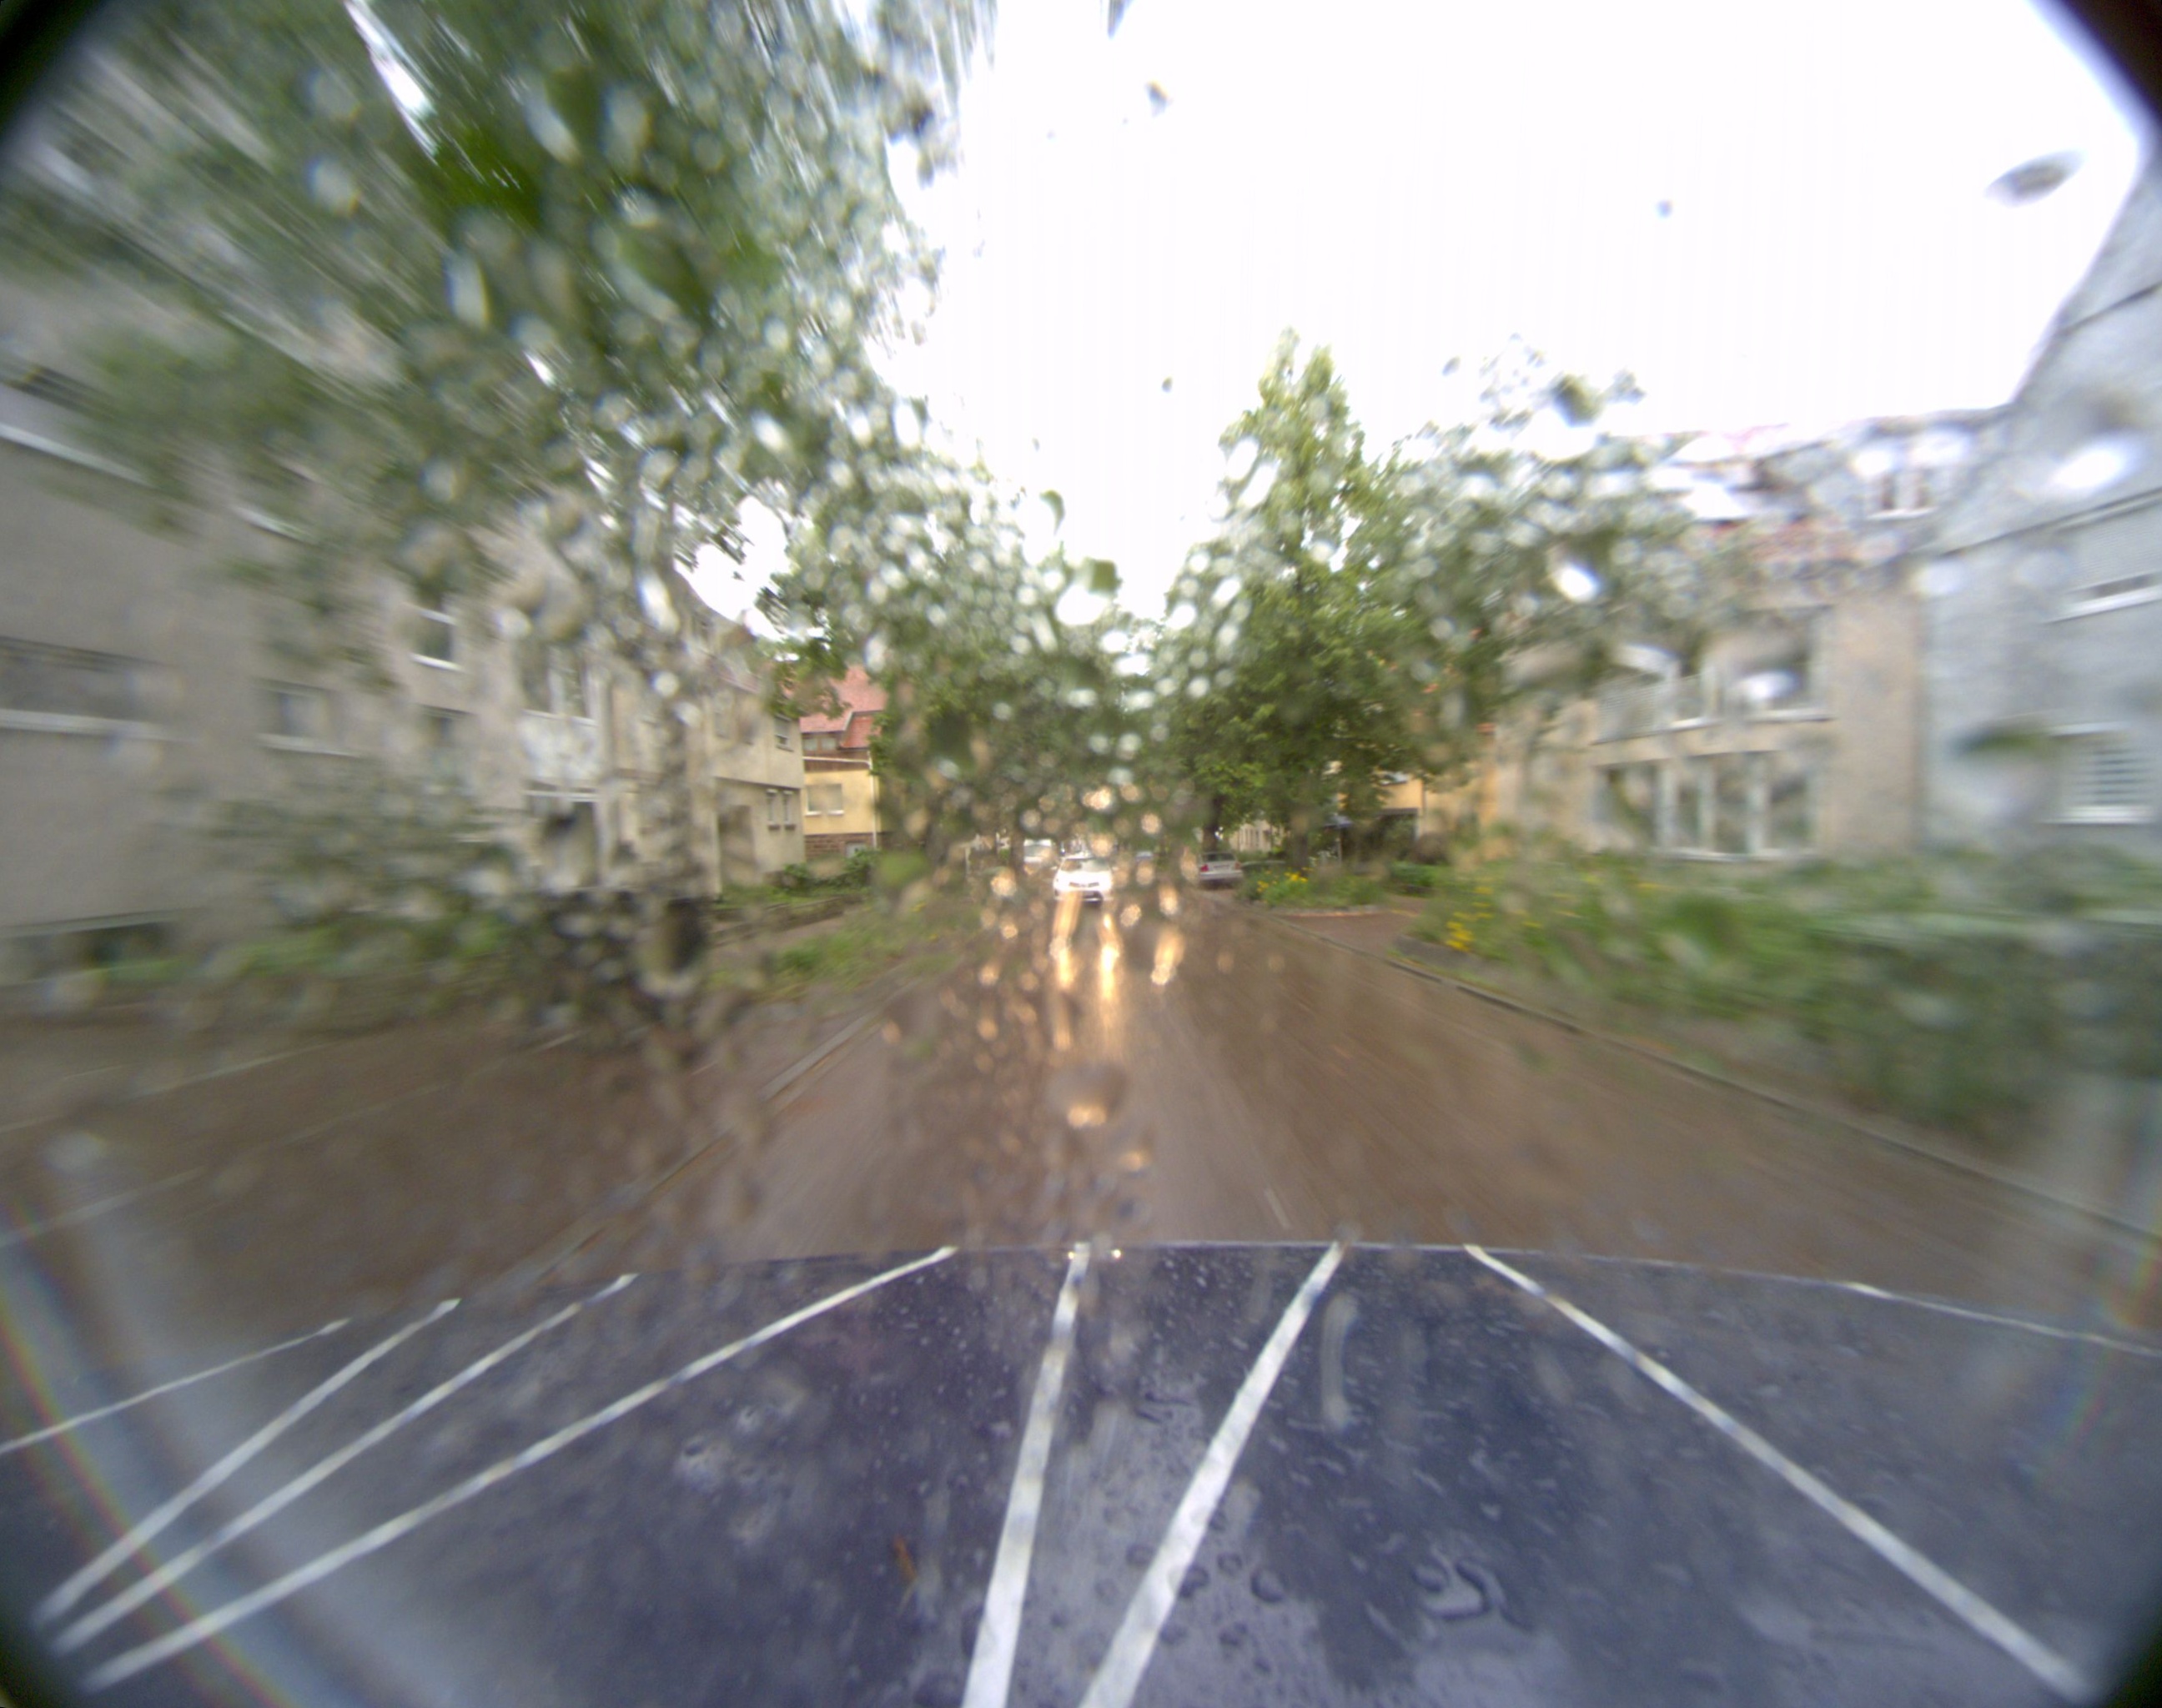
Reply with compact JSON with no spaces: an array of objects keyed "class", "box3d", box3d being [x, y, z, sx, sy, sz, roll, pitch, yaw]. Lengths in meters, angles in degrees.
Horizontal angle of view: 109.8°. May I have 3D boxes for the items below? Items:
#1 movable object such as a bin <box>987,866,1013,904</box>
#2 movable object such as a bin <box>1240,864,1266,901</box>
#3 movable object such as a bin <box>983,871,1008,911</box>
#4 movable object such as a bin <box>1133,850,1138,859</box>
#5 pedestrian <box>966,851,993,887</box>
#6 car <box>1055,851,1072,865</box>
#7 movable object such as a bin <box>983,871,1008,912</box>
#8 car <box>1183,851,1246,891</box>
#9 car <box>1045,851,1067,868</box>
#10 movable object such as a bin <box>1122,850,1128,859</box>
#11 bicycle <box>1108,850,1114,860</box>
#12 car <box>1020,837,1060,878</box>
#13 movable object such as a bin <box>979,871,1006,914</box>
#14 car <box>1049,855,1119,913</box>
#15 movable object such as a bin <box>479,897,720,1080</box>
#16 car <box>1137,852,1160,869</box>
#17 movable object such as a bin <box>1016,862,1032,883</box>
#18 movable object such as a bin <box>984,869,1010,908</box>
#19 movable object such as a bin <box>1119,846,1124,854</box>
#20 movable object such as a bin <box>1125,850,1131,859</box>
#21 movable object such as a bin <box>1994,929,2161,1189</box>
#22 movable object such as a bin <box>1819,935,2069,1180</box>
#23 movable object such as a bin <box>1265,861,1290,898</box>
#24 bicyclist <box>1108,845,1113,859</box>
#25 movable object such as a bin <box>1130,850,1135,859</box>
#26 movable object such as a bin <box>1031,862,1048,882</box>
[{"class":"movable object such as a bin","box3d":[-2.422,0.930,22.699,0.690,1.076,0.540,-2,1,-3]},{"class":"movable object such as a bin","box3d":[5.157,0.844,22.786,0.596,1.056,0.545,-5,0,4]},{"class":"movable object such as a bin","box3d":[-2.411,1.027,21.482,0.611,1.076,0.513,-2,1,-3]},{"class":"movable object such as a bin","box3d":[6.552,0.069,91.243,0.665,1.068,0.596,-1,2,5]},{"class":"pedestrian","box3d":[-4.749,0.679,35.616,0.955,1.642,0.794,-1,1,14]},{"class":"car","box3d":[-1.826,0.372,79.549,1.685,1.391,3.794,-1,1,0]},{"class":"movable object such as a bin","box3d":[-2.345,1.022,20.874,0.632,1.076,0.472,-2,1,-3]},{"class":"car","box3d":[5.226,0.619,30.230,1.776,1.381,4.545,-4,0,2]},{"class":"car","box3d":[-2.318,0.477,70.227,1.813,1.403,3.783,-2,0,1]},{"class":"movable object such as a bin","box3d":[5.366,0.094,92.082,0.665,1.068,0.596,-1,2,5]},{"class":"bicycle","box3d":[3.683,0.078,94.391,0.629,1.202,1.981,-2,1,1]},{"class":"car","box3d":[-2.566,0.166,49.464,2.146,2.446,5.434,-2,1,1]},{"class":"movable object such as a bin","box3d":[-2.350,1.014,20.233,0.645,1.076,0.540,-2,1,-3]},{"class":"car","box3d":[0.178,0.826,22.650,1.828,1.451,3.876,-3,0,3]},{"class":"movable object such as a bin","box3d":[-3.946,1.063,6.362,1.227,1.308,1.134,-1,1,3]},{"class":"car","box3d":[5.907,0.532,67.111,1.754,1.388,3.795,-2,1,1]},{"class":"movable object such as a bin","box3d":[-3.082,1.001,41.327,0.750,1.069,0.879,-2,1,1]},{"class":"movable object such as a bin","box3d":[-2.425,0.986,22.065,0.690,1.076,0.540,-2,1,-3]},{"class":"movable object such as a bin","box3d":[5.947,-0.599,111.896,0.618,1.053,0.568,-4,1,-1]},{"class":"movable object such as a bin","box3d":[5.626,0.107,91.337,0.665,1.061,0.596,-1,2,5]},{"class":"movable object such as a bin","box3d":[5.101,0.953,3.697,0.612,1.104,0.564,-2,0,3]},{"class":"movable object such as a bin","box3d":[4.367,0.999,3.886,0.644,1.104,0.536,-2,0,3]},{"class":"movable object such as a bin","box3d":[5.899,0.765,22.800,0.596,1.056,0.545,-3,1,4]},{"class":"bicyclist","box3d":[3.680,-0.209,94.641,0.629,1.721,0.880,-2,1,0]},{"class":"movable object such as a bin","box3d":[6.231,0.065,92.010,0.665,1.068,0.596,-1,2,5]},{"class":"movable object such as a bin","box3d":[-2.243,0.967,41.251,0.799,1.069,0.879,-2,1,1]}]
